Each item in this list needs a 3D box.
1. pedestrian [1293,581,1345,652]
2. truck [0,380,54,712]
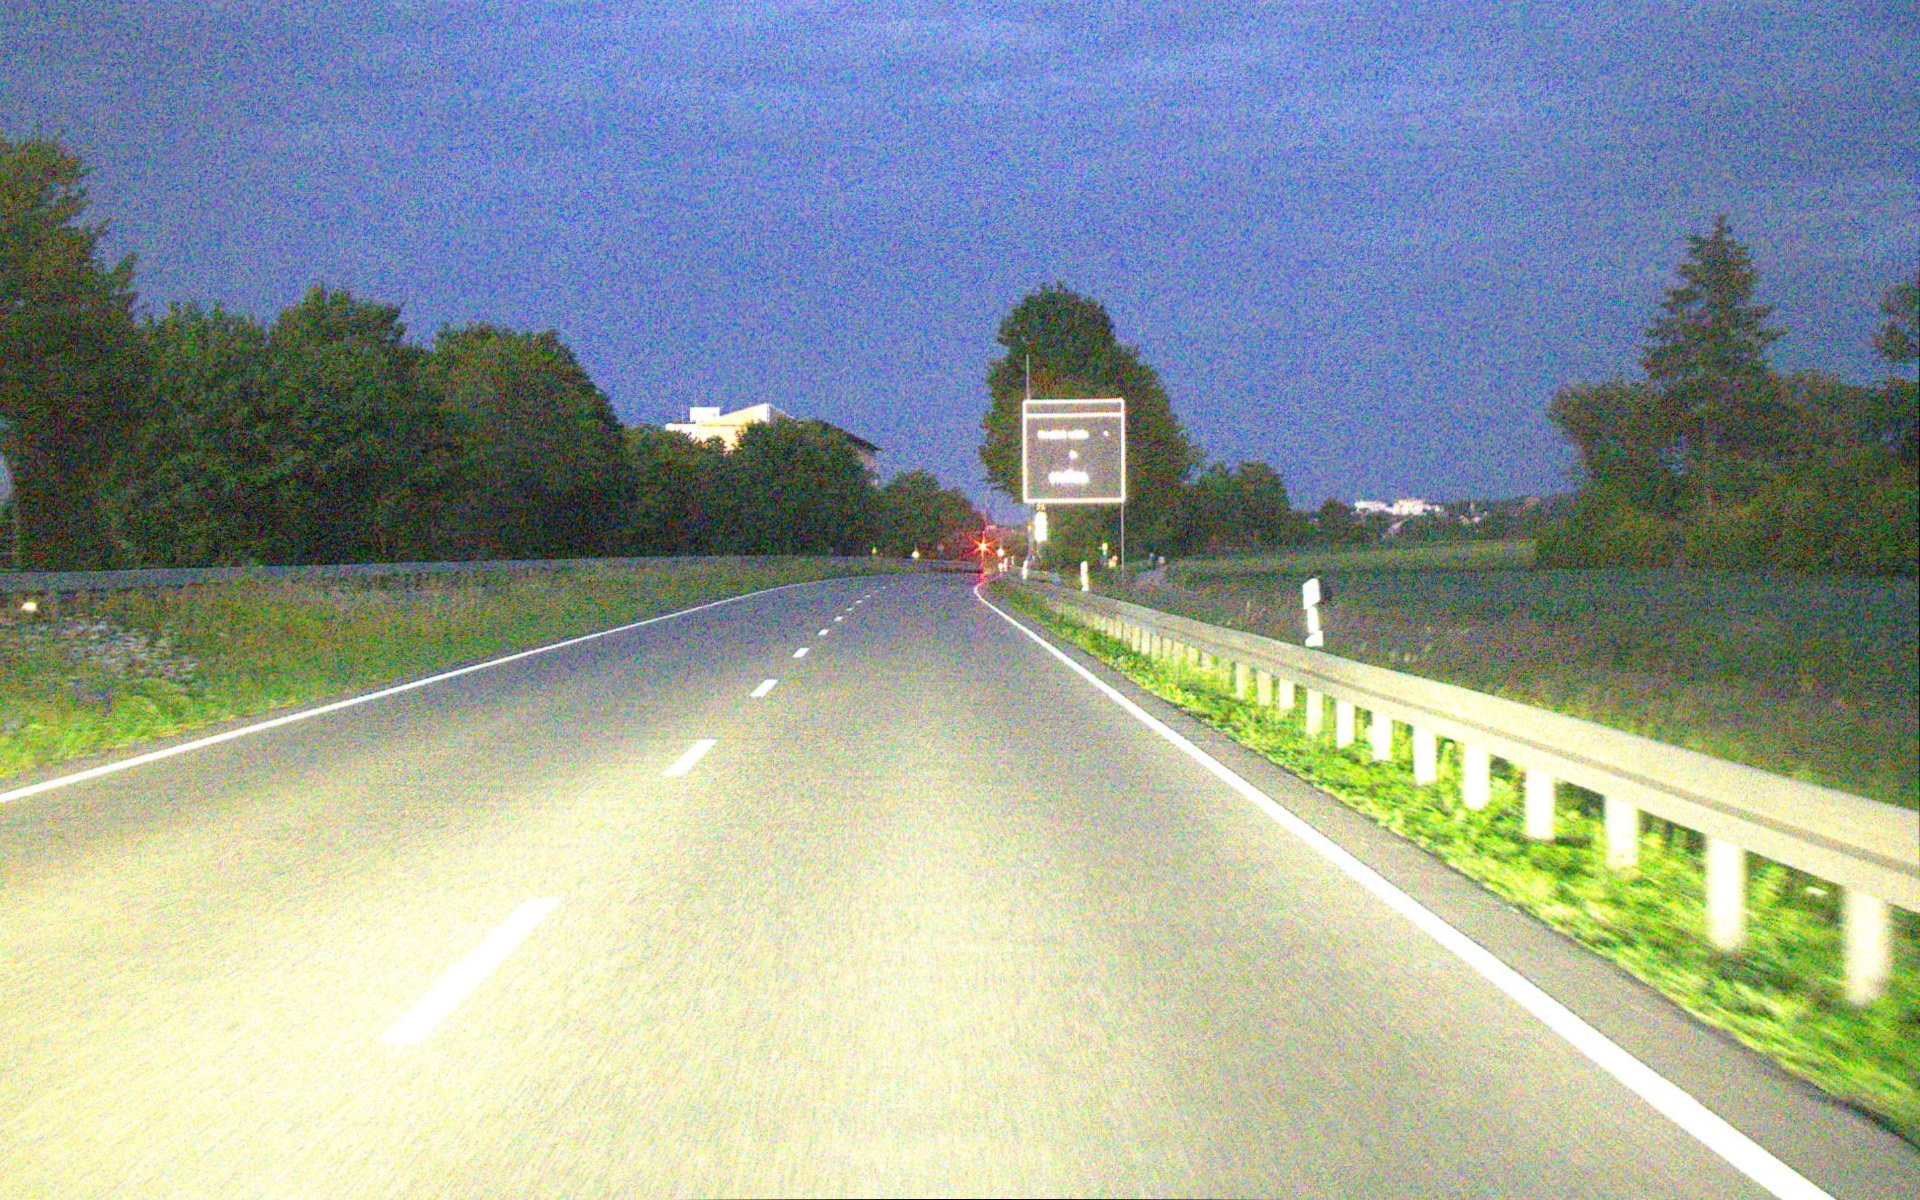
[{"bbox_3d":[8.440,0.386,80.883,1.062,1.637,1.118,1,0,0],"label":"pedestrian"},{"bbox_3d":[-16.702,-0.832,51.296,3.202,5.238,12.610,1,1,-1],"label":"truck"}]
